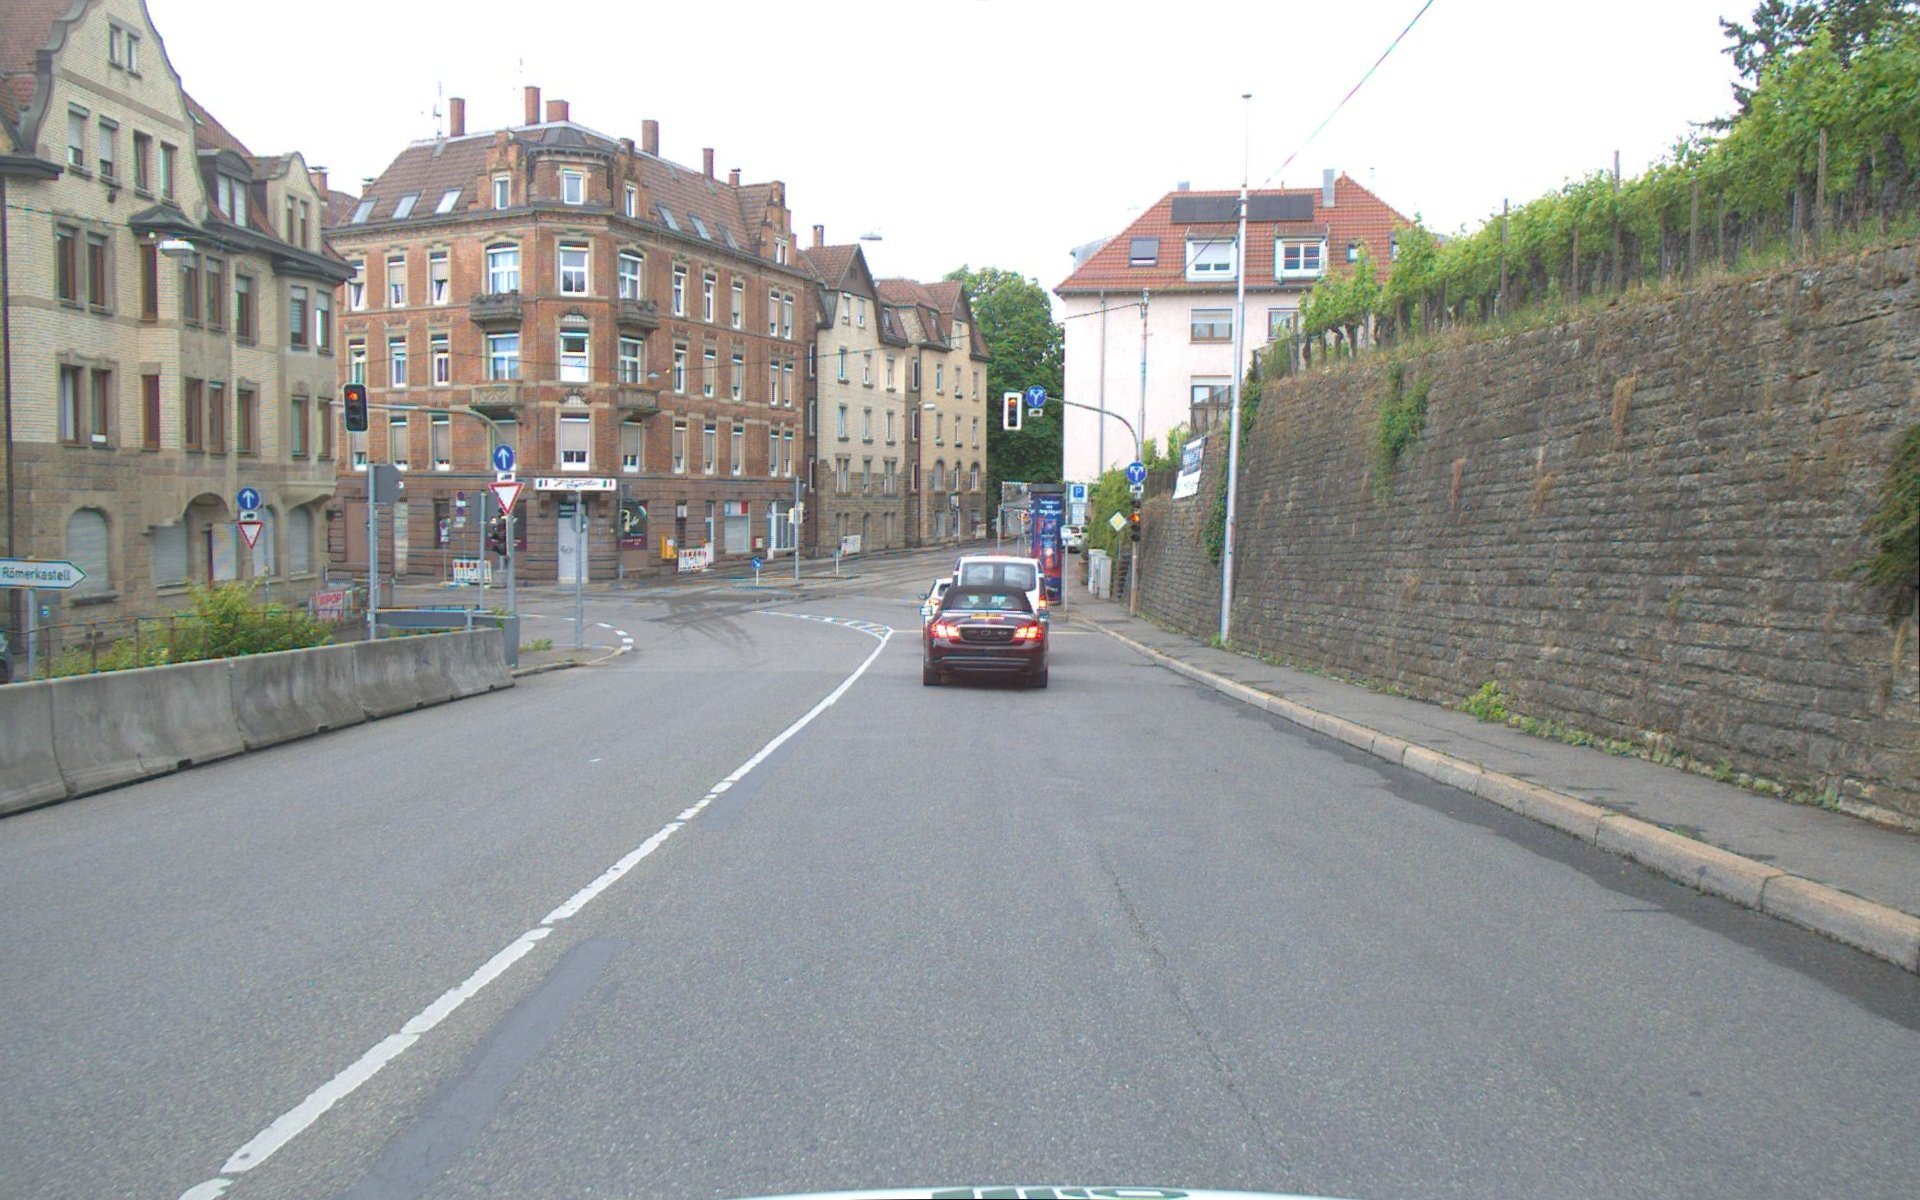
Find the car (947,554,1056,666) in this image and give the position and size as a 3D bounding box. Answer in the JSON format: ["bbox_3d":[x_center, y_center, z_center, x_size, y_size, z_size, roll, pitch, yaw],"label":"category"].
[{"bbox_3d":[0.717,0.144,31.022,1.870,1.916,4.000,1,1,-1],"label":"car"}]

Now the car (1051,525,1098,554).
[{"bbox_3d":[7.021,-3.726,101.163,1.803,1.731,4.001,1,3,21],"label":"car"}]

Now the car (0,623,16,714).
[{"bbox_3d":[-18.553,1.332,28.780,1.757,1.636,4.002,-2,1,2],"label":"car"}]

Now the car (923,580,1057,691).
[{"bbox_3d":[0.384,0.460,24.258,1.779,1.455,4.000,1,0,-1],"label":"car"}]

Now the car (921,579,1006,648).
[{"bbox_3d":[0.057,0.266,37.964,1.804,1.466,4.000,1,1,-1],"label":"car"}]
